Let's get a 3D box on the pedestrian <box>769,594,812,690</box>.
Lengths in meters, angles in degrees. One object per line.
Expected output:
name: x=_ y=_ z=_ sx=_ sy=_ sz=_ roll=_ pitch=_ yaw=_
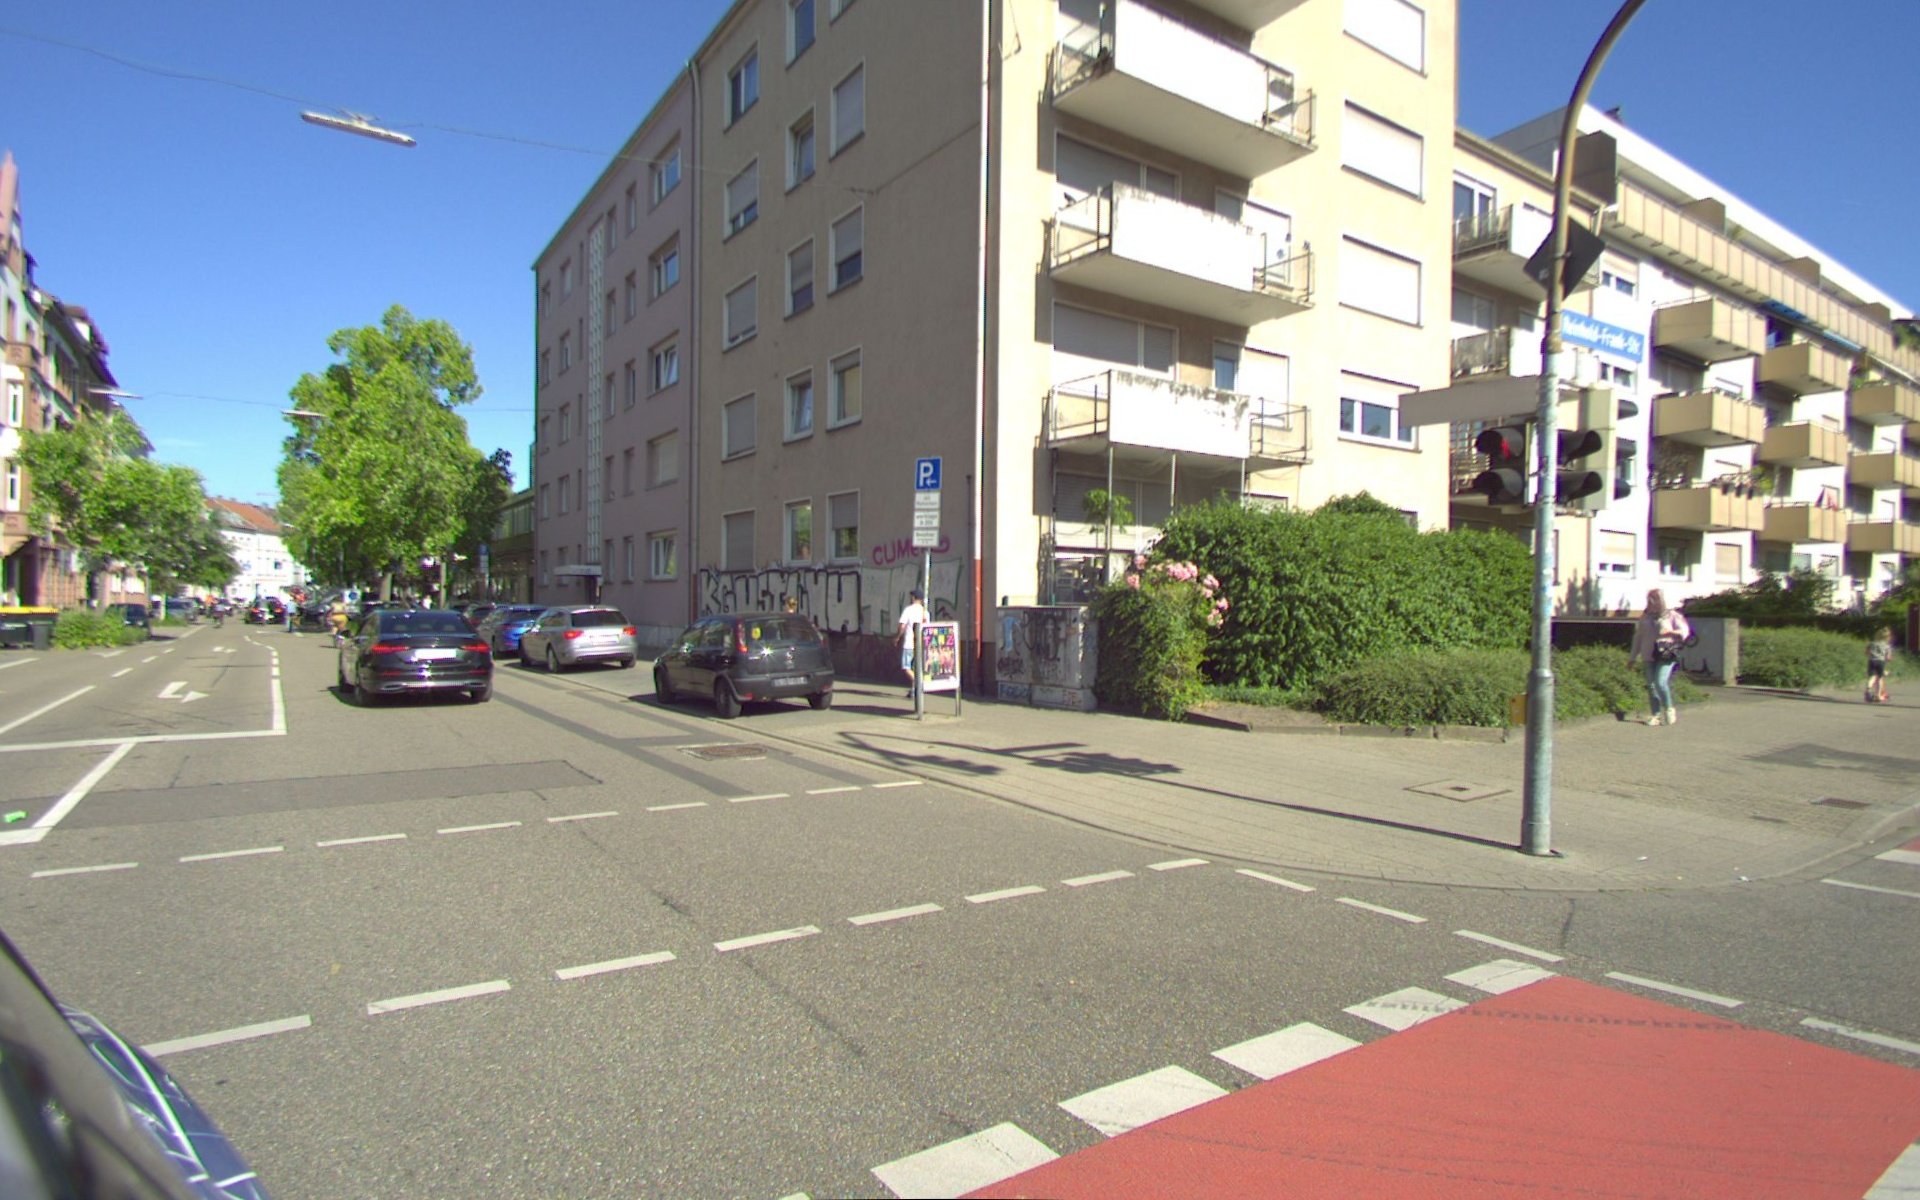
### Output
pedestrian: x=-2.891 y=0.701 z=17.243 sx=0.524 sy=1.593 sz=0.564 roll=1 pitch=-1 yaw=-35

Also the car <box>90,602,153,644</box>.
car: x=-33.485 y=0.876 z=40.482 sx=1.602 sy=1.608 sz=3.556 roll=0 pitch=-1 yaw=-35

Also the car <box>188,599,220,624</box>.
car: x=-50.621 y=0.775 z=67.785 sx=1.602 sy=1.608 sz=3.556 roll=0 pitch=-1 yaw=-35

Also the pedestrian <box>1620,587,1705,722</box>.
pedestrian: x=8.690 y=0.649 z=12.524 sx=0.637 sy=1.608 sz=0.698 roll=1 pitch=-1 yaw=-36

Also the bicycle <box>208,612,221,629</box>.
bicycle: x=-40.589 y=1.105 z=55.093 sx=0.535 sy=0.909 sz=1.830 roll=1 pitch=-1 yaw=-37

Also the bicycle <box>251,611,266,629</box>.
bicycle: x=-40.195 y=1.141 z=58.021 sx=0.670 sy=0.959 sz=1.938 roll=2 pitch=-2 yaw=-35

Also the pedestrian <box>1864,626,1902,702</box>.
pedestrian: x=14.550 y=0.994 z=15.955 sx=0.523 sy=1.155 sz=0.387 roll=1 pitch=-1 yaw=-41

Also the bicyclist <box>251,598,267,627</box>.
bicyclist: x=-40.186 y=0.720 z=58.018 sx=0.670 sy=1.588 sz=0.901 roll=3 pitch=-2 yaw=-35

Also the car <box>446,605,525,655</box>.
car: x=-15.486 y=0.919 z=32.913 sx=1.699 sy=1.478 sz=4.169 roll=-2 pitch=1 yaw=-33

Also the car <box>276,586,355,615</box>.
car: x=-54.832 y=0.092 z=86.111 sx=5.472 sy=2.411 sz=1.982 roll=1 pitch=-1 yaw=-39

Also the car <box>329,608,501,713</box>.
car: x=-8.781 y=0.871 z=16.120 sx=1.781 sy=1.423 sz=4.436 roll=3 pitch=-2 yaw=-36

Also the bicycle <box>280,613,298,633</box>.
bicycle: x=-32.602 y=1.097 z=49.173 sx=0.670 sy=0.959 sz=1.938 roll=0 pitch=0 yaw=-35

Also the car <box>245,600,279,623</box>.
car: x=-48.339 y=0.790 z=70.084 sx=1.881 sy=1.564 sz=4.010 roll=0 pitch=-1 yaw=-35

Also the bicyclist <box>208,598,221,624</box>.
bicyclist: x=-40.567 y=0.622 z=55.061 sx=0.535 sy=1.401 sz=0.790 roll=1 pitch=-1 yaw=-37

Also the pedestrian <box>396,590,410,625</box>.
pedestrian: x=-29.740 y=0.401 z=54.065 sx=0.613 sy=1.820 sz=0.503 roll=0 pitch=-1 yaw=-34

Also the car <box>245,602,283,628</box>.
car: x=-43.178 y=0.906 z=62.773 sx=1.881 sy=1.564 sz=4.010 roll=0 pitch=-1 yaw=-35

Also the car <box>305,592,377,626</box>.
car: x=-38.687 y=0.563 z=63.279 sx=3.814 sy=2.058 sz=1.918 roll=0 pitch=-1 yaw=-33

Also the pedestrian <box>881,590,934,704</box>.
pedestrian: x=-0.813 y=0.704 z=15.579 sx=0.565 sy=1.701 sz=0.671 roll=0 pitch=-1 yaw=-32

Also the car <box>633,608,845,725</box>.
car: x=-3.422 y=0.880 z=15.178 sx=1.669 sy=1.459 sz=3.865 roll=-2 pitch=1 yaw=-36

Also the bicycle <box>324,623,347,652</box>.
bicycle: x=-20.568 y=1.223 z=33.308 sx=0.535 sy=0.909 sz=1.831 roll=1 pitch=-1 yaw=-35

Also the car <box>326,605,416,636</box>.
car: x=-30.266 y=1.029 z=52.009 sx=3.932 sy=1.564 sz=1.918 roll=0 pitch=-1 yaw=-32

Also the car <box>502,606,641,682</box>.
car: x=-9.133 y=0.927 z=23.540 sx=1.799 sy=1.514 sz=4.813 roll=-2 pitch=1 yaw=-36

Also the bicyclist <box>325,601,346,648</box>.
bicyclist: x=-20.586 y=0.795 z=33.346 sx=0.535 sy=1.532 sz=0.776 roll=1 pitch=-1 yaw=-35

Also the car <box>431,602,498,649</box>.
car: x=-18.538 y=0.902 z=37.766 sx=1.699 sy=1.588 sz=4.169 roll=-2 pitch=1 yaw=-33

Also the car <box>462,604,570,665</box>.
car: x=-12.702 y=0.909 z=28.754 sx=1.799 sy=1.514 sz=4.813 roll=-2 pitch=1 yaw=-36

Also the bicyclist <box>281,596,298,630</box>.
bicyclist: x=-32.663 y=0.618 z=49.286 sx=0.670 sy=1.643 sz=0.901 roll=0 pitch=0 yaw=-35
